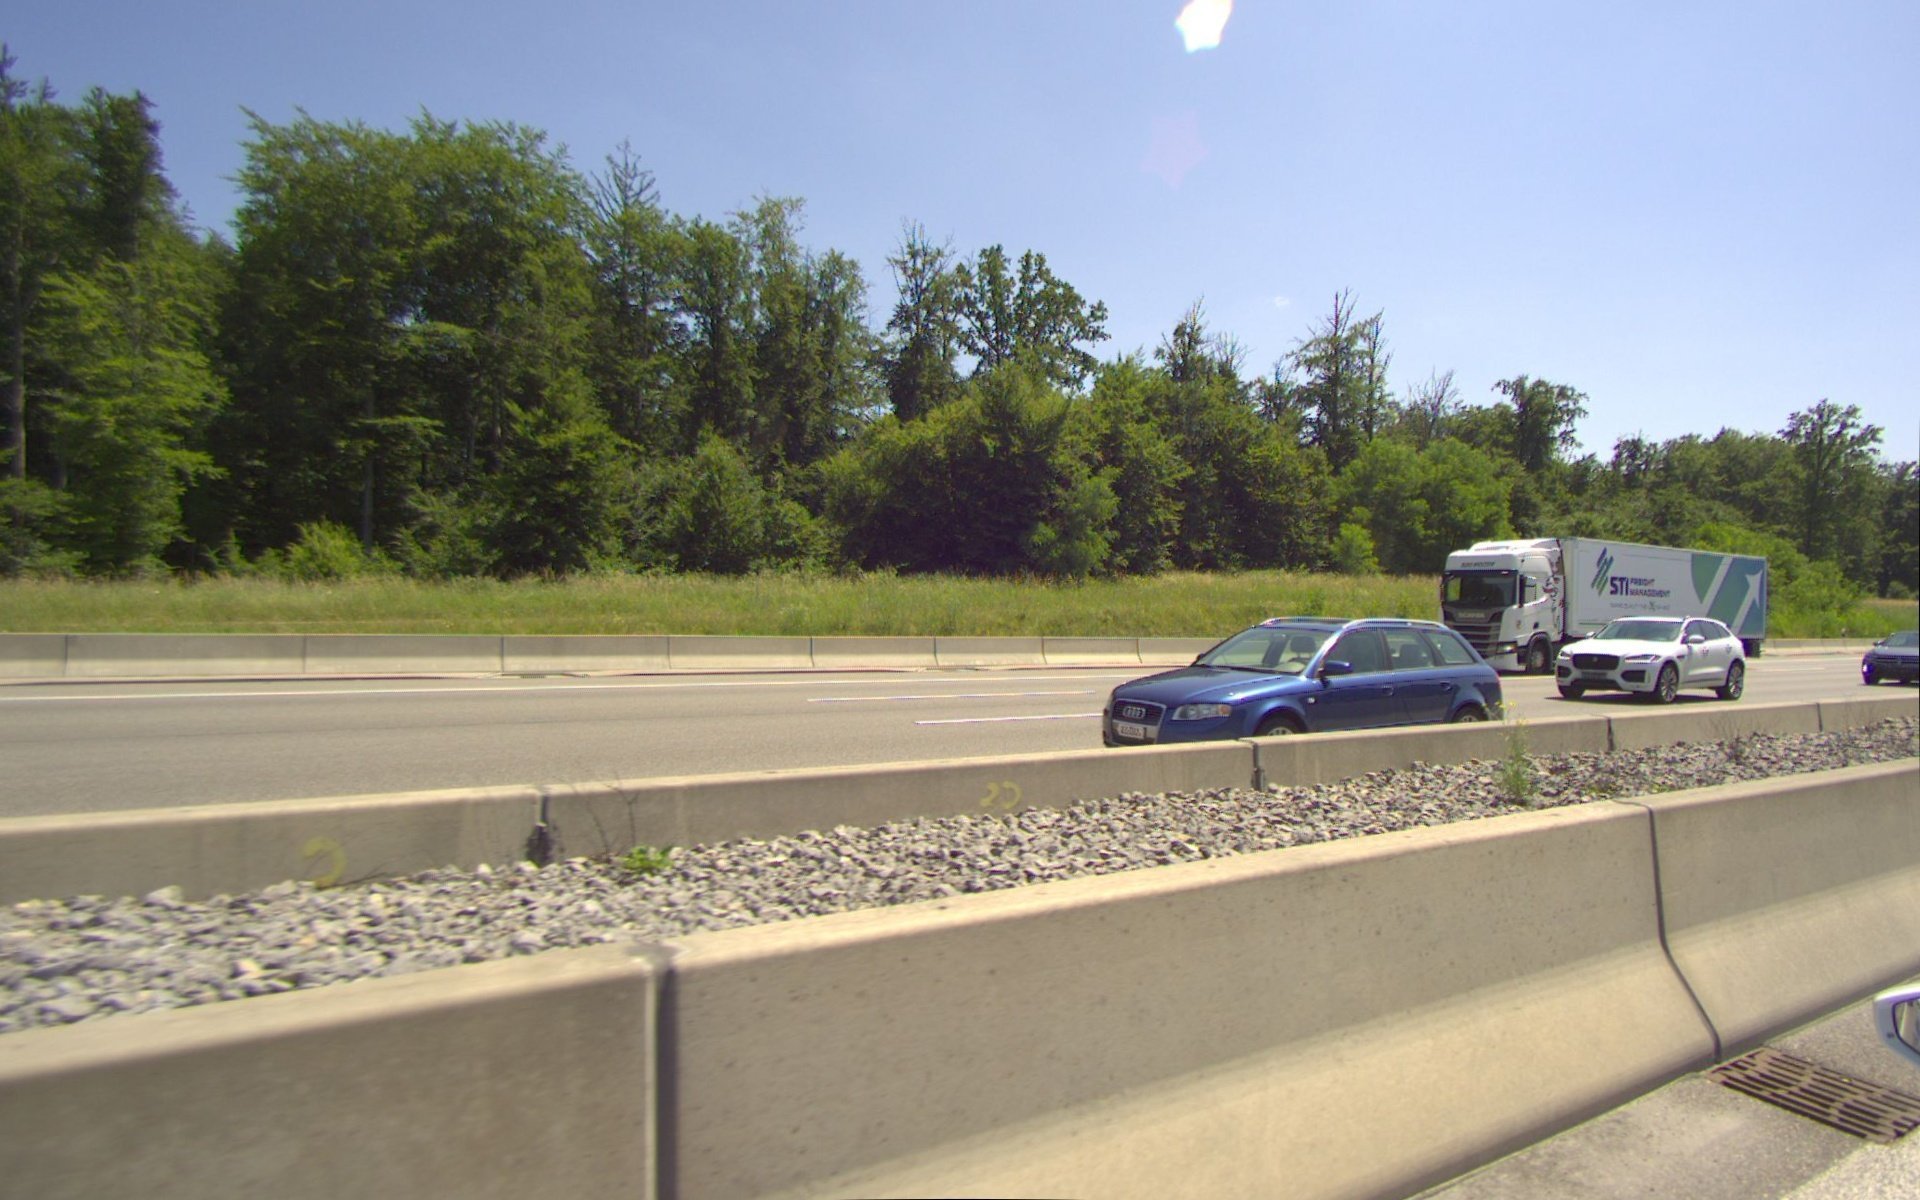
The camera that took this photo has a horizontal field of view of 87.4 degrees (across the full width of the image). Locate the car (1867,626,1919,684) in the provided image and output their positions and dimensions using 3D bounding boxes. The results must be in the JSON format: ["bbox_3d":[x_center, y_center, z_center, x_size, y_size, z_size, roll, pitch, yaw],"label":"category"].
[{"bbox_3d":[27.797,1.541,28.419,4.535,1.539,1.983,1,-1,-31],"label":"car"}]

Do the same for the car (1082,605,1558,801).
[{"bbox_3d":[3.637,0.863,9.854,4.769,1.539,1.741,1,-1,-30],"label":"car"}]

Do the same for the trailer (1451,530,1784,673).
[{"bbox_3d":[22.683,0.198,34.015,15.110,4.091,3.213,1,-1,-31],"label":"trailer"}]

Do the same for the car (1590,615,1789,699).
[{"bbox_3d":[15.464,1.162,21.213,4.650,1.564,1.825,2,0,-33],"label":"car"}]

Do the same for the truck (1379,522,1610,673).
[{"bbox_3d":[15.980,0.014,29.977,6.342,4.056,3.204,2,0,-31],"label":"truck"}]
